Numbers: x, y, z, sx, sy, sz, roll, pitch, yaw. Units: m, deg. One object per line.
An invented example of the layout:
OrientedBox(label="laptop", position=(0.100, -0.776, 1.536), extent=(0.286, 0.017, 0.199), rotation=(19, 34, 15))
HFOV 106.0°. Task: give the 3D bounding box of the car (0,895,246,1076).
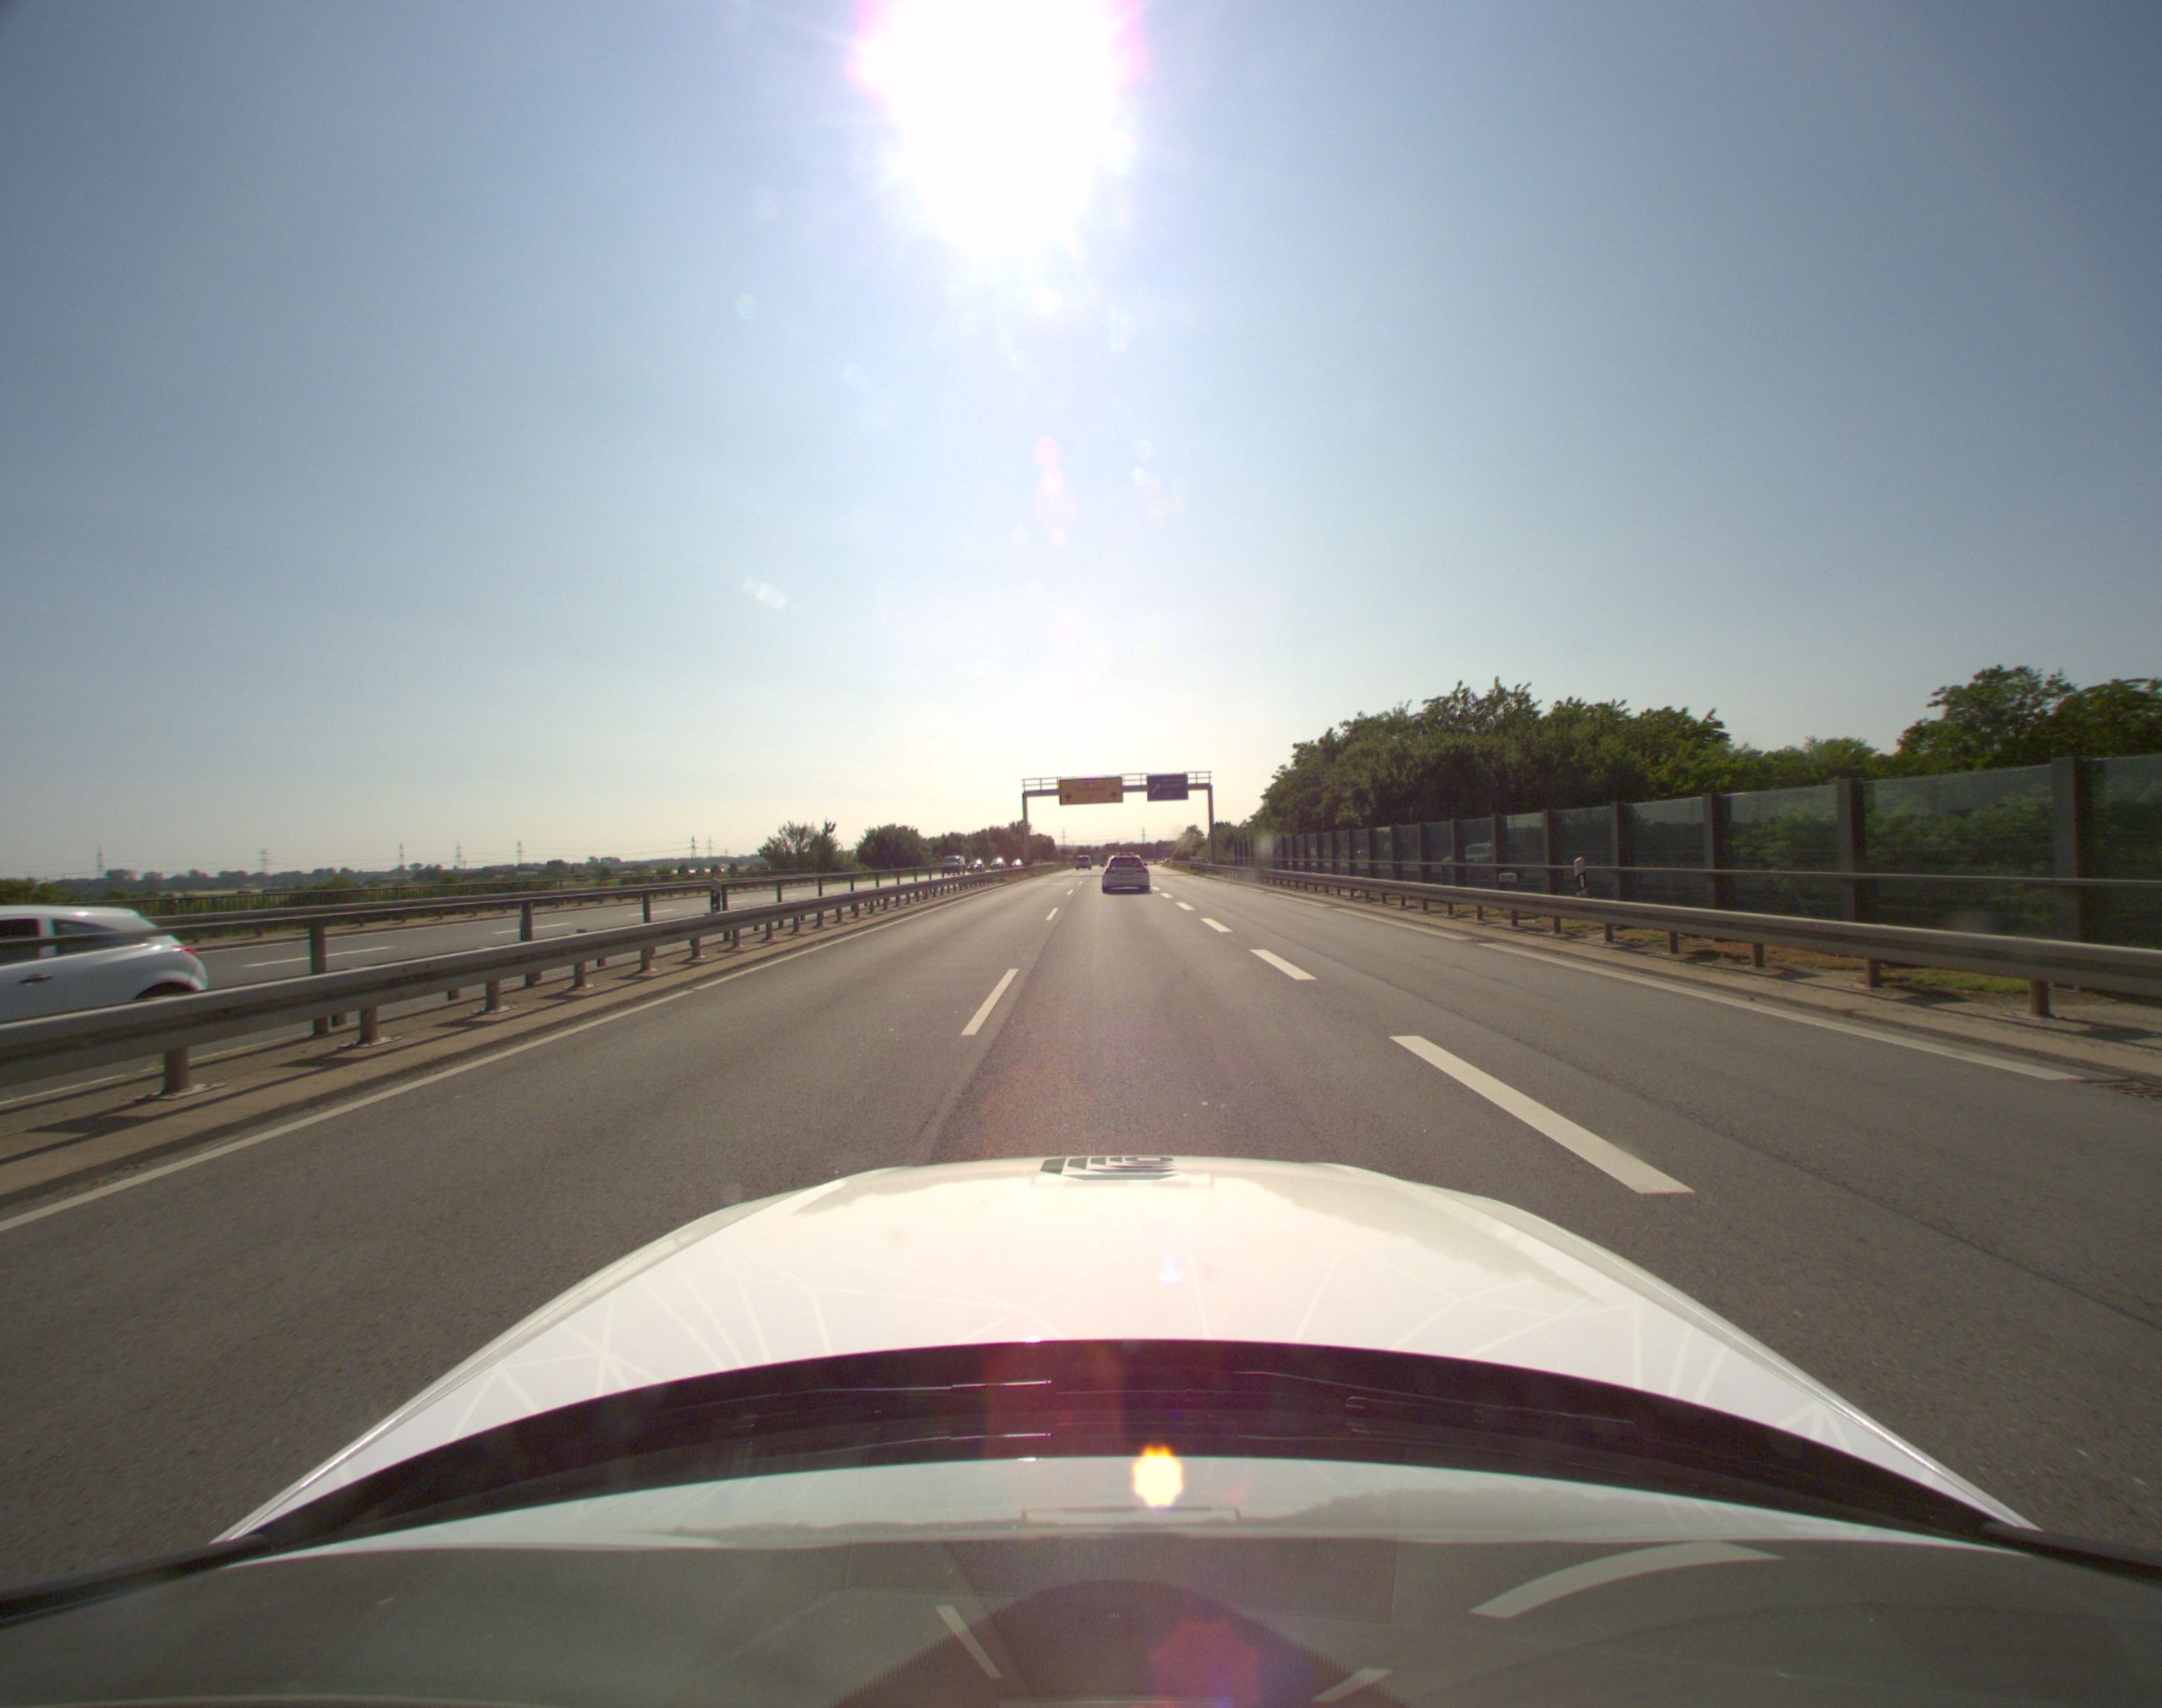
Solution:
OrientedBox(label="car", position=(-9.903, 1.176, 7.045), extent=(1.547, 1.417, 3.668), rotation=(-1, 0, 0))

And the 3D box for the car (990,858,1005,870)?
OrientedBox(label="car", position=(-12.254, 1.479, 119.790), extent=(1.727, 1.617, 4.003), rotation=(-1, 0, 0))

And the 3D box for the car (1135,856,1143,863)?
OrientedBox(label="car", position=(15.124, 1.441, 212.597), extent=(1.834, 1.698, 4.002), rotation=(-1, -1, 2))

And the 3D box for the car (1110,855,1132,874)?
OrientedBox(label="car", position=(3.456, 0.893, 71.024), extent=(1.787, 1.543, 3.672), rotation=(-1, 0, 1))

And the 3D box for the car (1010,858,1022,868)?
OrientedBox(label="car", position=(-11.592, 1.586, 146.064), extent=(1.896, 1.620, 4.627), rotation=(-1, 0, -1))

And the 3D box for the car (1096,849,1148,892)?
OrientedBox(label="car", position=(1.600, 0.606, 33.010), extent=(1.951, 1.601, 4.108), rotation=(-1, 0, 1))

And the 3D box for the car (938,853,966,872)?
OrientedBox(label="car", position=(-13.534, 0.855, 85.573), extent=(1.985, 1.906, 4.420), rotation=(-2, 0, 3))

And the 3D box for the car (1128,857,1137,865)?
OrientedBox(label="car", position=(11.761, 1.517, 186.037), extent=(1.834, 1.803, 4.001), rotation=(-1, -1, 1))

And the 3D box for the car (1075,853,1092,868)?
OrientedBox(label="car", position=(0.247, 0.711, 89.880), extent=(1.787, 1.503, 4.043), rotation=(-1, 0, 1))

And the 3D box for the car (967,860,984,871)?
OrientedBox(label="car", position=(-12.934, 1.392, 100.032), extent=(1.561, 1.270, 3.716), rotation=(-1, 0, 0))
